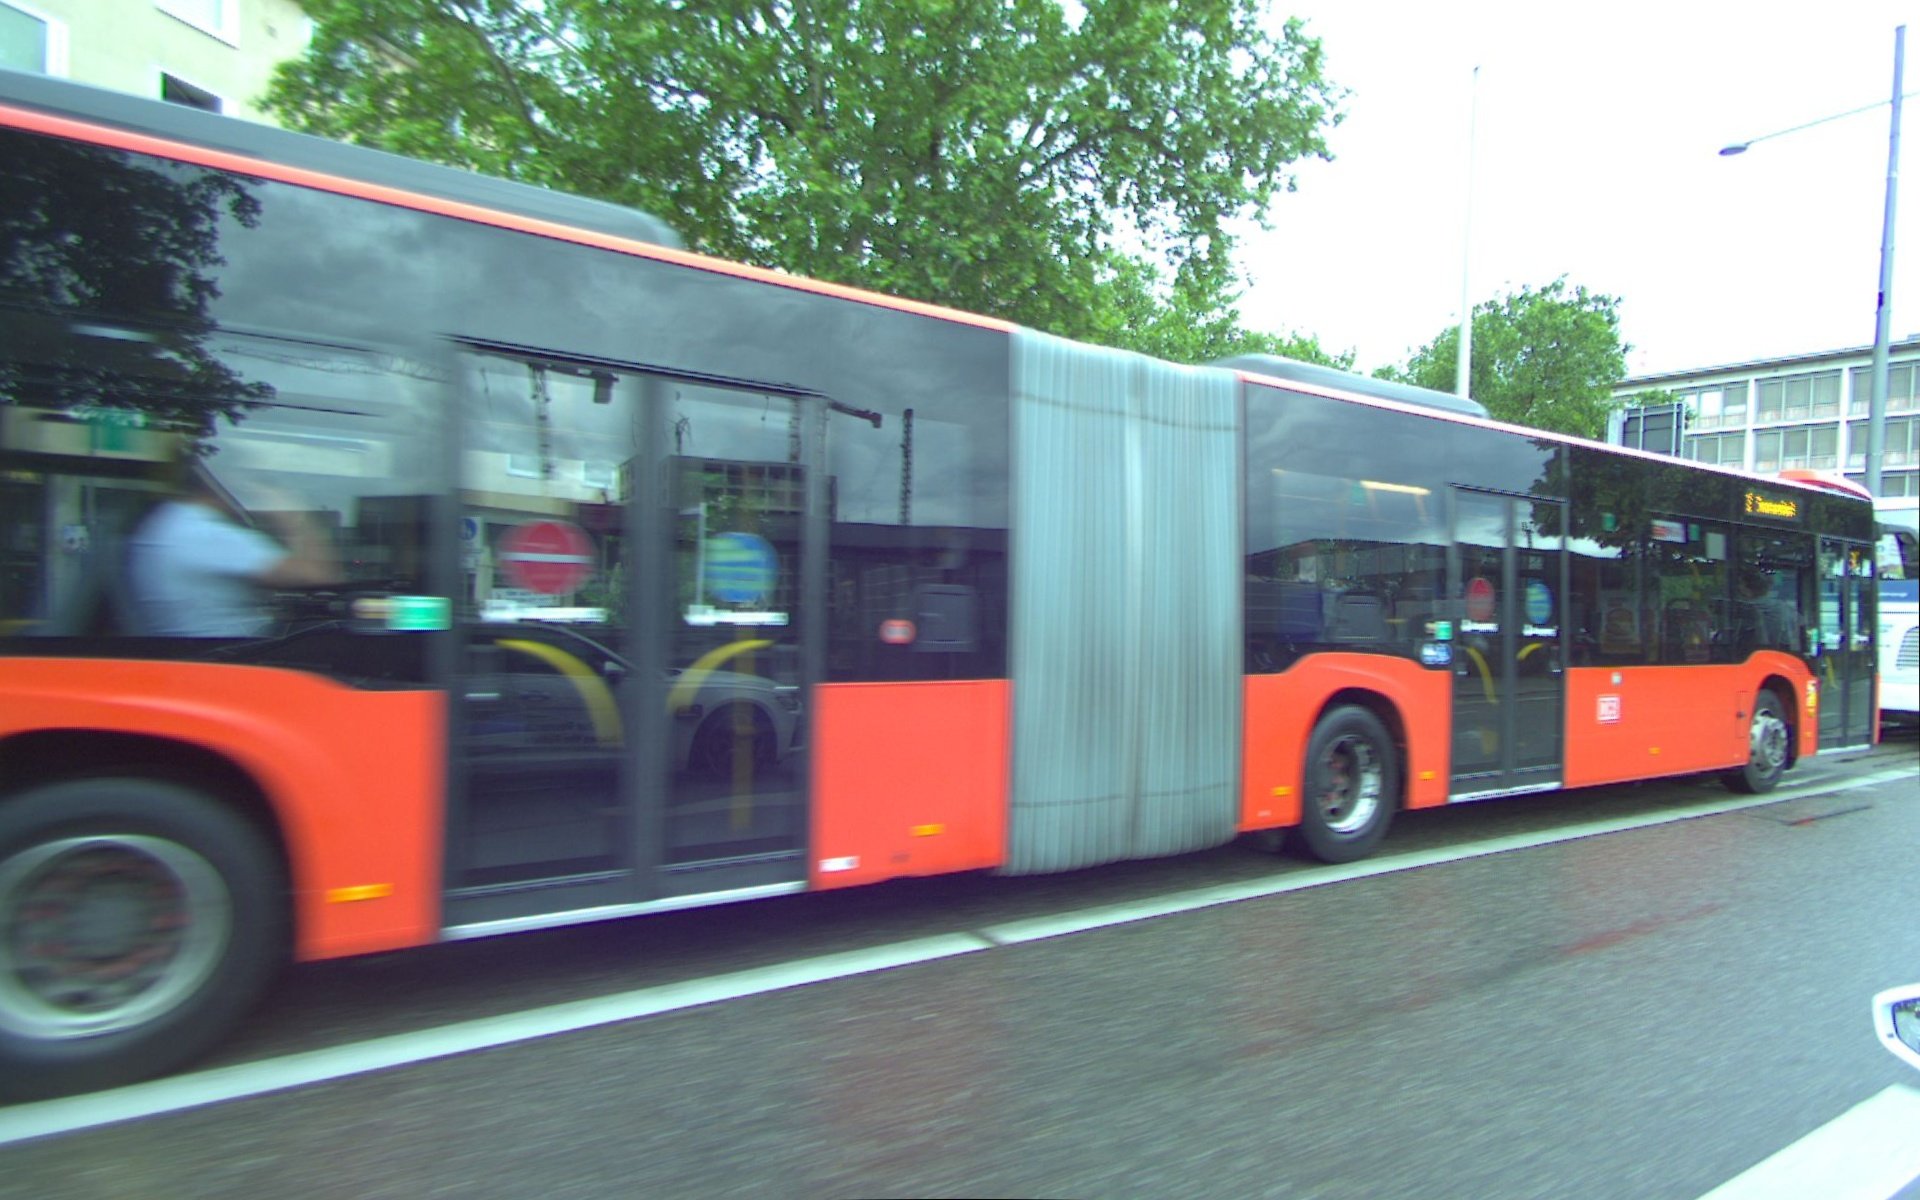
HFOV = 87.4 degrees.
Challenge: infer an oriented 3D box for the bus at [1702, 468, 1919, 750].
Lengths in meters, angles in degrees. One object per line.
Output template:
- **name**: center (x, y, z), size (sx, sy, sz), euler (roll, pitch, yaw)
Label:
- **bus**: center (16.662, 0.250, 16.488), size (12.422, 3.485, 2.939), euler (2, 0, -33)

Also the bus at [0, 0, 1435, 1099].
- **bus**: center (-1.985, -0.245, 4.779), size (9.802, 3.289, 2.795), euler (2, 0, -32)

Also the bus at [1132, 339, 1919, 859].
- **bus**: center (5.913, 0.087, 9.564), size (8.740, 3.174, 2.739), euler (2, 0, -31)
